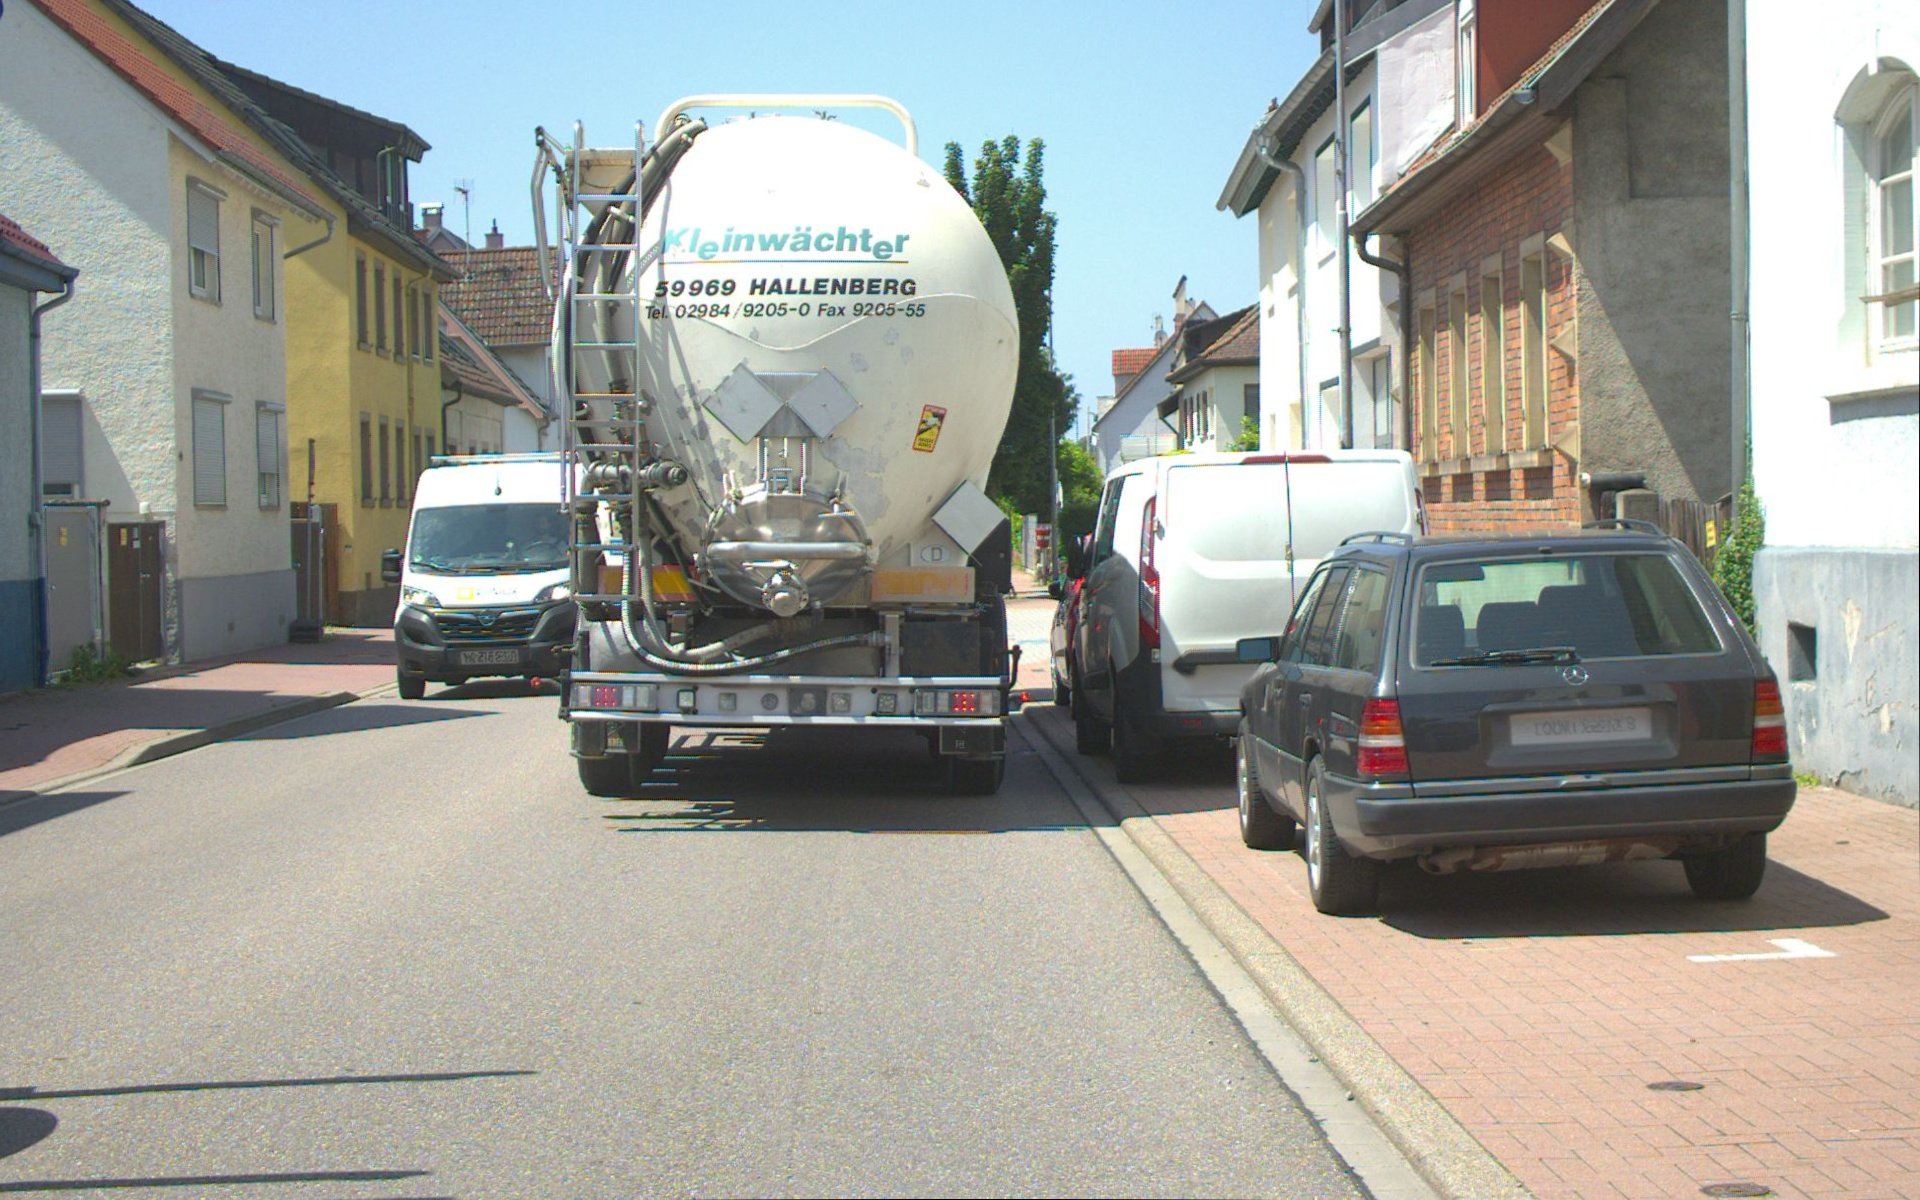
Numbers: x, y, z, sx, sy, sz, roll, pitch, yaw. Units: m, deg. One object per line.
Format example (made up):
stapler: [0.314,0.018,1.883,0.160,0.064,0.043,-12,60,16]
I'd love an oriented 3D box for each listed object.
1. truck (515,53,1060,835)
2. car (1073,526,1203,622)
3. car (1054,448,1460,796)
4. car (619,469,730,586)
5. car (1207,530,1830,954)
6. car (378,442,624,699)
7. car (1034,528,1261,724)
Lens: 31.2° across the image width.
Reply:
truck: [-1.018,-0.837,21.577,2.732,3.946,8.142,1,1,-2]
car: [3.163,-0.493,60.193,1.815,1.457,4.883,4,2,7]
car: [1.785,0.074,22.253,1.946,1.963,4.786,-1,1,-3]
car: [-6.056,-1.548,73.481,2.050,2.345,6.082,-2,1,-2]
car: [2.149,0.457,14.489,1.770,1.461,4.578,-1,1,-1]
car: [-4.914,-0.358,37.523,2.125,2.533,5.462,-2,1,-3]
car: [1.536,0.170,29.243,1.610,1.523,3.677,-1,1,-1]
